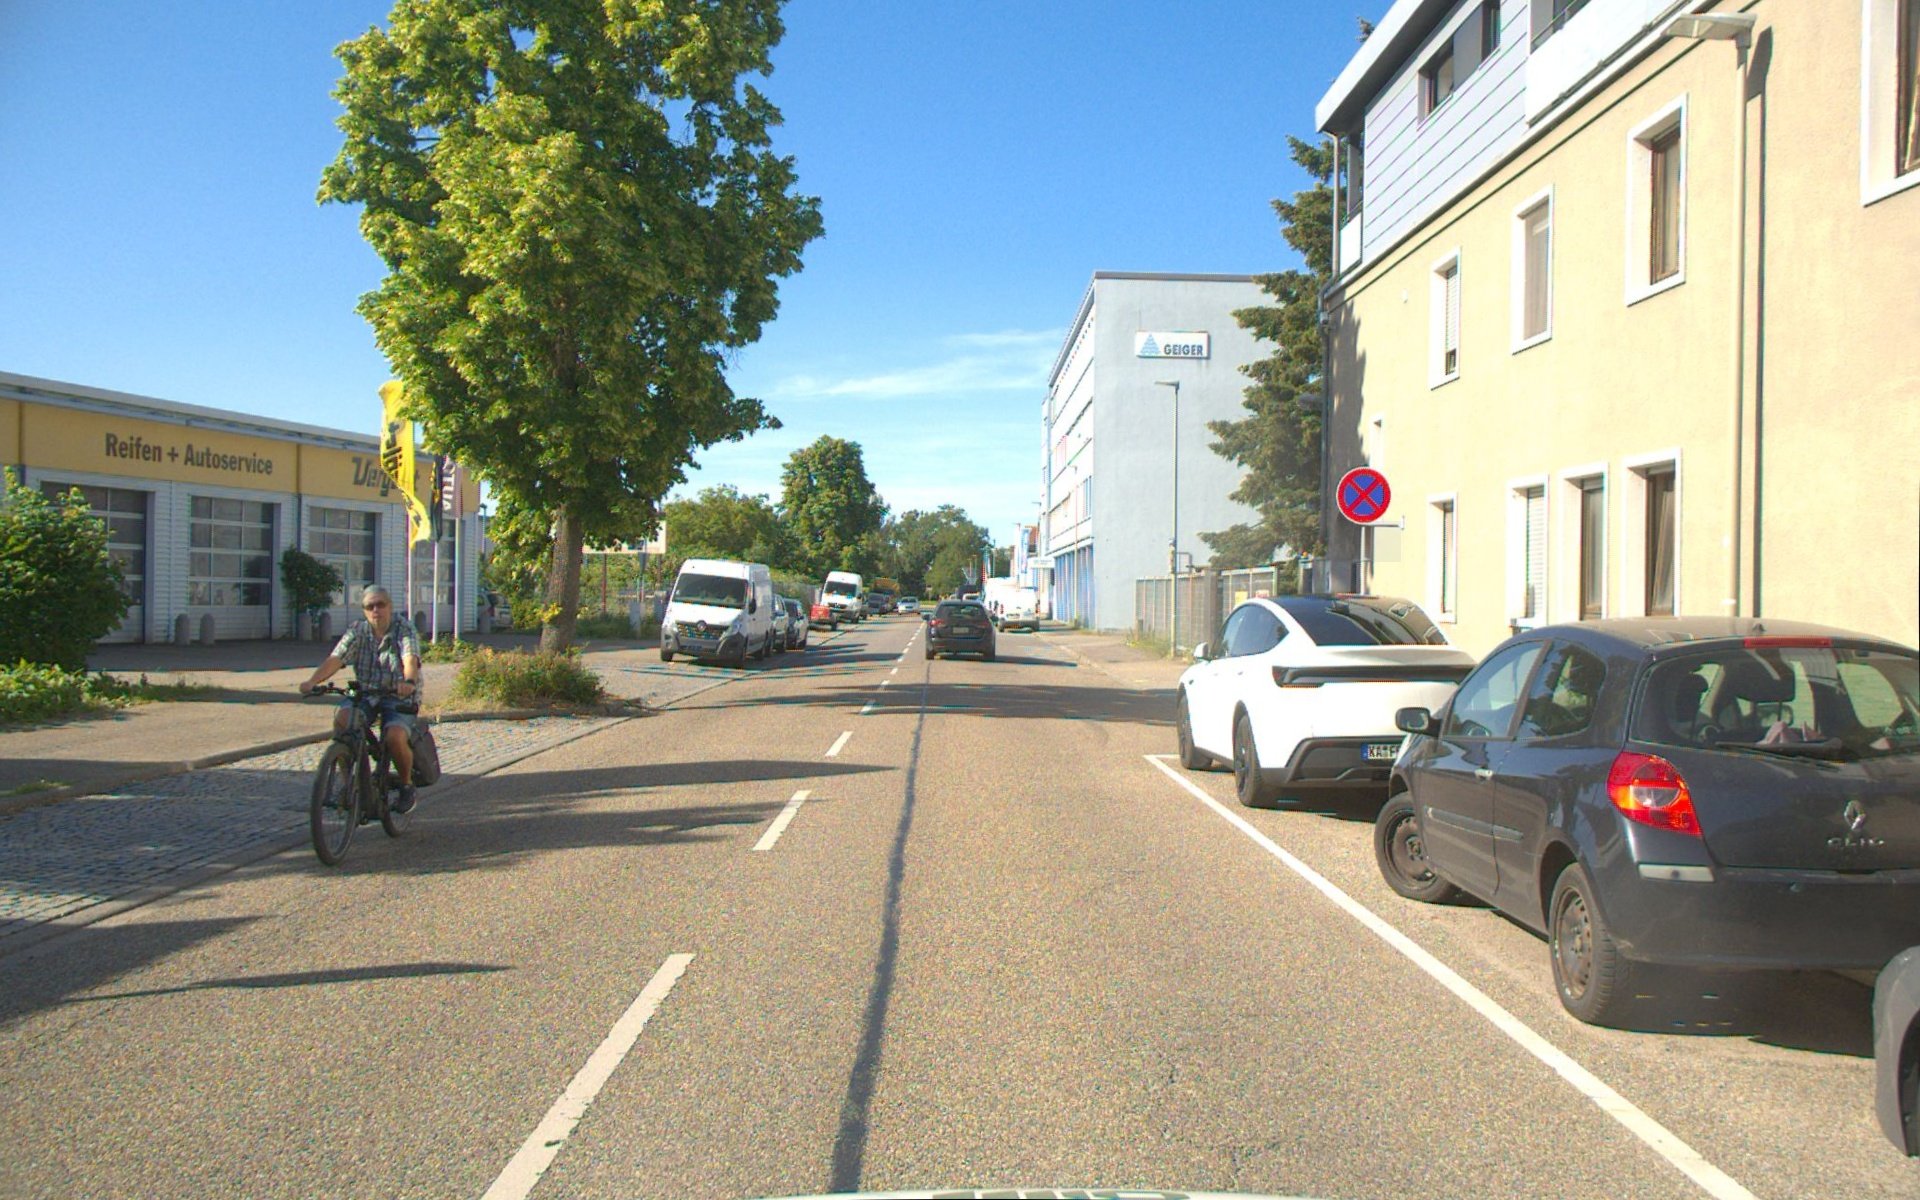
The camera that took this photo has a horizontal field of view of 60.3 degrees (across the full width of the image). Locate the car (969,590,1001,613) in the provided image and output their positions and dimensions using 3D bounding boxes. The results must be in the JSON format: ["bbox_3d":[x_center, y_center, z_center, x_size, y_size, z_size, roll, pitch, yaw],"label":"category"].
[{"bbox_3d":[1.656,0.089,110.612,1.856,1.430,5.122,2,0,-1],"label":"car"}]

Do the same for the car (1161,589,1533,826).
[{"bbox_3d":[3.039,0.742,14.115,1.893,1.673,4.767,0,0,-2],"label":"car"}]

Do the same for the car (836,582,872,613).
[{"bbox_3d":[-6.619,-0.159,103.485,1.990,1.723,5.104,5,0,-2],"label":"car"}]

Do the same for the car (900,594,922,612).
[{"bbox_3d":[-4.053,0.230,136.429,1.711,1.473,4.359,1,0,-1],"label":"car"}]

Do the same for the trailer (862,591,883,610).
[{"bbox_3d":[-6.583,0.036,124.715,1.447,1.378,3.078,2,0,-1],"label":"trailer"}]

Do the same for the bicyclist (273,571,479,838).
[{"bbox_3d":[-3.684,0.634,10.532,0.822,1.569,1.137,-2,-1,2],"label":"bicyclist"}]

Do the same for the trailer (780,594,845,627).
[{"bbox_3d":[-6.322,0.425,71.598,2.328,1.098,6.244,4,1,-1],"label":"trailer"}]

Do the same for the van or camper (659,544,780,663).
[{"bbox_3d":[-5.909,0.053,41.453,2.029,2.593,6.402,4,0,-1],"label":"van or camper"}]

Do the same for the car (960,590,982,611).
[{"bbox_3d":[1.004,0.079,154.948,1.848,1.829,5.102,2,0,-2],"label":"car"}]

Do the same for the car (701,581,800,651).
[{"bbox_3d":[-5.885,0.419,47.006,1.952,1.768,4.576,4,0,2],"label":"car"}]

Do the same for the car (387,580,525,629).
[{"bbox_3d":[-17.148,0.137,56.348,4.069,1.601,1.918,1,0,9],"label":"car"}]

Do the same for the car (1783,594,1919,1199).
[{"bbox_3d":[3.191,0.765,2.749,1.625,1.531,4.031,0,0,0],"label":"car"}]

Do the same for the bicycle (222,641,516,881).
[{"bbox_3d":[-3.667,0.937,10.579,0.822,1.261,2.605,-2,-1,2],"label":"bicycle"}]

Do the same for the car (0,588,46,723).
[{"bbox_3d":[-13.136,0.611,19.121,4.252,1.534,2.002,1,0,13],"label":"car"}]

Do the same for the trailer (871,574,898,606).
[{"bbox_3d":[-8.353,-1.064,183.761,2.931,3.503,8.157,1,0,-2],"label":"trailer"}]

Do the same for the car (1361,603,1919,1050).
[{"bbox_3d":[3.085,0.784,7.797,1.565,1.498,4.191,0,0,3],"label":"car"}]

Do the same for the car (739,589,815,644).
[{"bbox_3d":[-5.727,0.471,52.291,1.763,1.536,5.002,4,0,0],"label":"car"}]

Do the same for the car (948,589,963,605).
[{"bbox_3d":[-0.652,-0.413,221.432,1.836,2.049,5.159,2,0,-1],"label":"car"}]

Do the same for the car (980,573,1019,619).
[{"bbox_3d":[2.336,-0.279,98.876,1.953,2.643,6.049,-1,1,-2],"label":"car"}]

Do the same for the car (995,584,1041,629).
[{"bbox_3d":[2.545,0.265,73.224,1.850,1.864,5.090,1,0,0],"label":"car"}]

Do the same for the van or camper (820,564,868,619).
[{"bbox_3d":[-6.291,-0.484,90.233,1.926,2.731,5.948,5,0,1],"label":"van or camper"}]

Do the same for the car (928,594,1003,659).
[{"bbox_3d":[0.125,0.630,41.881,1.809,1.557,4.000,0,0,0],"label":"car"}]
